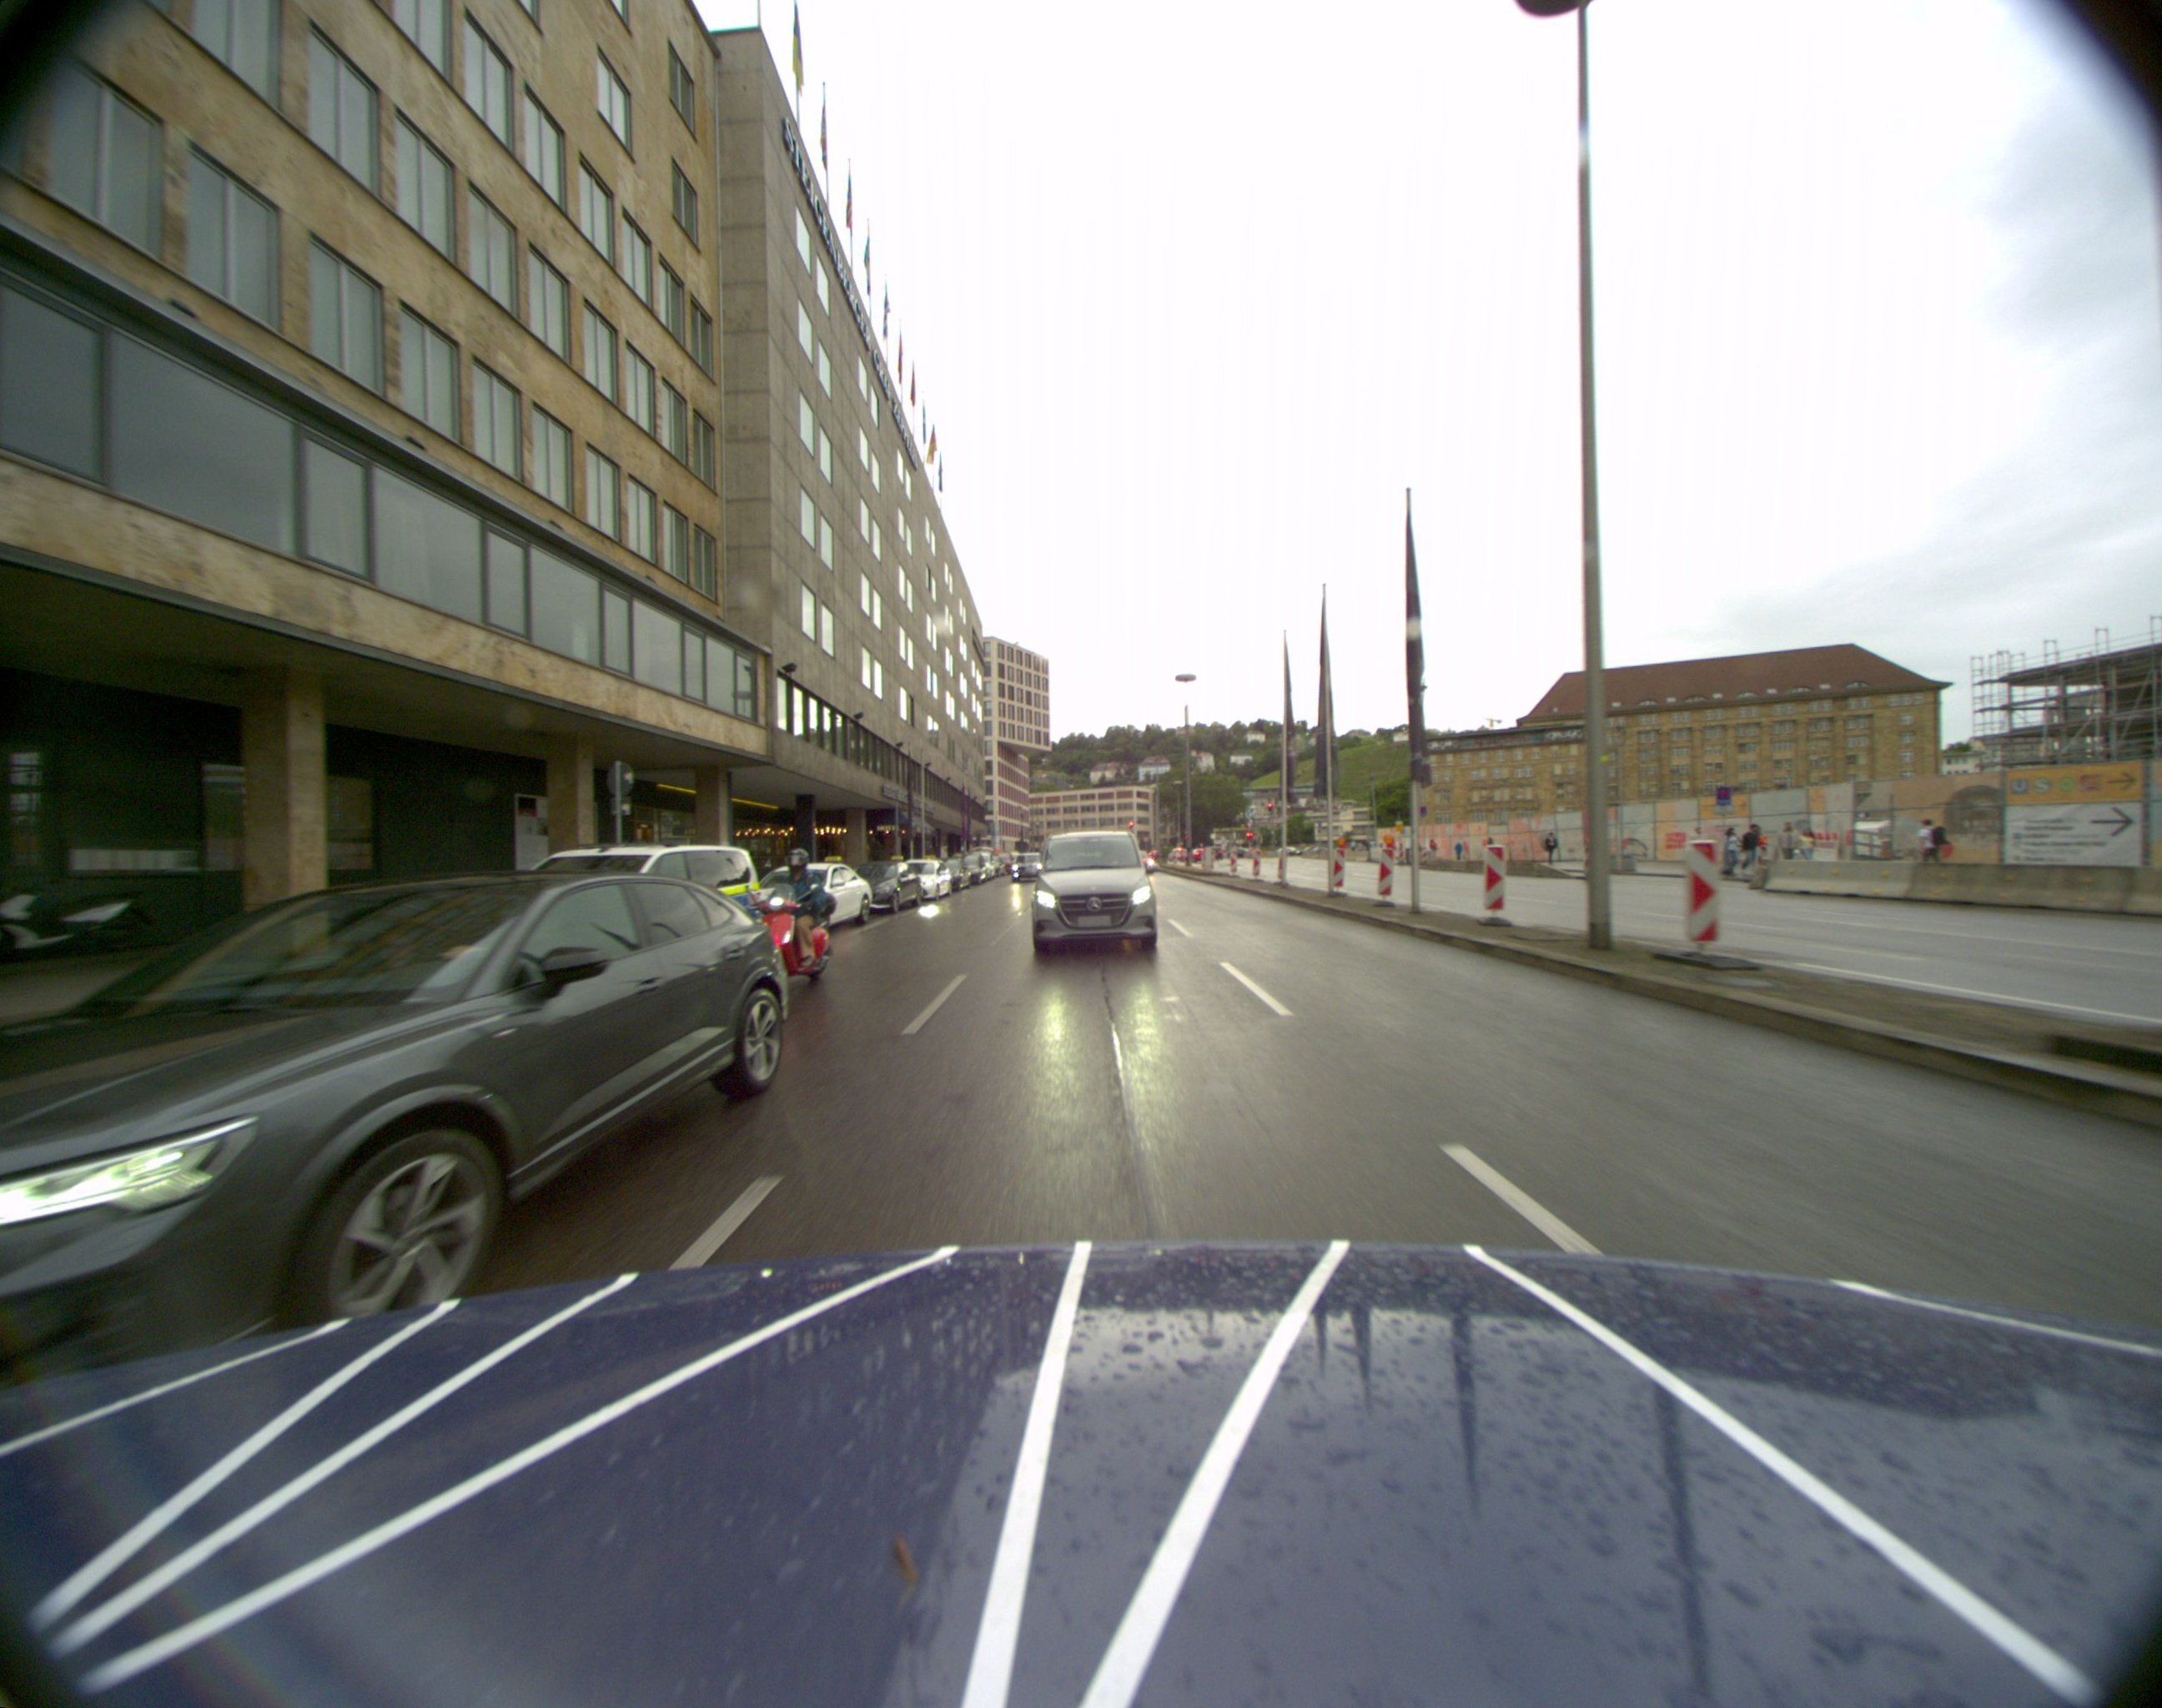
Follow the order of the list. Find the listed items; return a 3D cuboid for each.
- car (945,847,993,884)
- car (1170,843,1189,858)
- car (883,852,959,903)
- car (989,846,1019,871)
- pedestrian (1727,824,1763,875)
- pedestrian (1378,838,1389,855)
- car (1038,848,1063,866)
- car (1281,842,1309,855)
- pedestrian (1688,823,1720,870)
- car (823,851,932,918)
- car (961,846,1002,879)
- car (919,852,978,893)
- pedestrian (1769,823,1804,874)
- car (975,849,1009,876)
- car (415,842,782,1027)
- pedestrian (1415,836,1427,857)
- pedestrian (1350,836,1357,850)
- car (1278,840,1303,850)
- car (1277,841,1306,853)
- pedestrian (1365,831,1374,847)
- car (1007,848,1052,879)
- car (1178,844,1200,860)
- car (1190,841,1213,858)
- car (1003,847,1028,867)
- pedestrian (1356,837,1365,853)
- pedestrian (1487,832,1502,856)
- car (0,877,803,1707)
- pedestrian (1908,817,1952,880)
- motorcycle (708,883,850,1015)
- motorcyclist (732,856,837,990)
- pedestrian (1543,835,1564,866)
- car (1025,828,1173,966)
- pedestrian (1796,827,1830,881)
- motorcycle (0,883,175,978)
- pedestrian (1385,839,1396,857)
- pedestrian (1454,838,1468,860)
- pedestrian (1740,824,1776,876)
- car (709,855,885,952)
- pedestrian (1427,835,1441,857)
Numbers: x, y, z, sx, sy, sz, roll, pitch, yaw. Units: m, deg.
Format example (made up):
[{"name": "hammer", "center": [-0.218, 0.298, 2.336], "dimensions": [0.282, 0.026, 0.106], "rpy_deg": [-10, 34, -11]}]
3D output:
[{"name": "car", "center": [-5.878, 0.568, 40.503], "dimensions": [1.731, 1.733, 4.813], "rpy_deg": [-3, 1, 0]}, {"name": "car", "center": [12.097, -0.420, 93.634], "dimensions": [1.785, 1.684, 3.915], "rpy_deg": [-3, 1, -1]}, {"name": "car", "center": [-5.888, 0.796, 28.520], "dimensions": [1.731, 1.583, 4.813], "rpy_deg": [-3, 1, 0]}, {"name": "car", "center": [-5.671, 0.304, 56.382], "dimensions": [1.731, 1.604, 4.000], "rpy_deg": [-3, 1, 0]}, {"name": "pedestrian", "center": [23.338, -0.158, 26.719], "dimensions": [0.714, 1.723, 0.718], "rpy_deg": [-2, 2, 19]}, {"name": "pedestrian", "center": [28.910, -0.753, 72.640], "dimensions": [0.715, 1.607, 0.544], "rpy_deg": [-3, 2, 1]}, {"name": "car", "center": [-2.875, 0.233, 72.822], "dimensions": [2.089, 1.540, 4.586], "rpy_deg": [-3, 1, 0]}, {"name": "car", "center": [35.474, -0.902, 126.210], "dimensions": [4.194, 1.847, 1.832], "rpy_deg": [-3, 1, 6]}, {"name": "pedestrian", "center": [25.098, -0.299, 30.612], "dimensions": [0.664, 1.825, 0.720], "rpy_deg": [-3, 2, 1]}, {"name": "car", "center": [-5.931, 0.821, 22.793], "dimensions": [1.879, 1.628, 4.813], "rpy_deg": [-3, 1, 0]}, {"name": "car", "center": [-5.907, 0.469, 45.698], "dimensions": [1.731, 1.733, 4.813], "rpy_deg": [-3, 1, 0]}, {"name": "car", "center": [-5.880, 0.761, 34.334], "dimensions": [1.731, 1.583, 4.813], "rpy_deg": [-3, 1, 0]}, {"name": "pedestrian", "center": [24.561, -0.211, 26.476], "dimensions": [0.714, 1.734, 0.564], "rpy_deg": [-2, 2, 21]}, {"name": "car", "center": [-5.932, 0.516, 51.206], "dimensions": [1.731, 1.604, 4.000], "rpy_deg": [-3, 1, 0]}, {"name": "car", "center": [-6.202, 0.843, 10.708], "dimensions": [1.879, 1.909, 4.934], "rpy_deg": [-3, 1, 0]}, {"name": "pedestrian", "center": [27.566, -0.618, 61.568], "dimensions": [0.715, 1.607, 0.544], "rpy_deg": [-3, 2, 1]}, {"name": "pedestrian", "center": [32.508, -1.268, 90.624], "dimensions": [0.715, 1.607, 0.544], "rpy_deg": [-2, 2, 15]}, {"name": "car", "center": [35.734, -1.569, 129.425], "dimensions": [3.993, 1.622, 2.002], "rpy_deg": [-1, 1, 14]}, {"name": "car", "center": [30.733, -1.015, 110.928], "dimensions": [3.993, 1.622, 2.002], "rpy_deg": [-1, 1, 14]}, {"name": "pedestrian", "center": [30.058, -1.593, 79.059], "dimensions": [0.715, 1.607, 0.544], "rpy_deg": [-3, 2, 5]}, {"name": "car", "center": [-2.820, 0.479, 42.664], "dimensions": [2.089, 1.540, 4.586], "rpy_deg": [-3, 1, 0]}, {"name": "car", "center": [12.298, -0.291, 86.517], "dimensions": [1.785, 1.684, 3.915], "rpy_deg": [-3, 1, -1]}, {"name": "car", "center": [12.617, -0.463, 79.685], "dimensions": [1.785, 1.684, 3.916], "rpy_deg": [-1, 1, 0]}, {"name": "car", "center": [-5.684, 0.239, 66.701], "dimensions": [1.731, 1.604, 4.000], "rpy_deg": [-3, 1, 0]}, {"name": "pedestrian", "center": [29.097, -0.917, 79.226], "dimensions": [0.715, 1.607, 0.544], "rpy_deg": [-3, 2, 5]}, {"name": "pedestrian", "center": [28.349, -0.691, 52.072], "dimensions": [0.715, 1.607, 0.544], "rpy_deg": [-3, 2, 1]}, {"name": "car", "center": [-3.088, 1.005, 3.463], "dimensions": [1.883, 1.493, 4.342], "rpy_deg": [-3, 1, 1]}, {"name": "pedestrian", "center": [25.322, -0.171, 22.669], "dimensions": [0.482, 1.825, 0.717], "rpy_deg": [-3, 2, 1]}, {"name": "motorcycle", "center": [-3.590, 1.075, 9.259], "dimensions": [0.848, 1.299, 1.965], "rpy_deg": [-3, 1, 1]}, {"name": "motorcyclist", "center": [-3.602, 0.812, 9.309], "dimensions": [0.861, 1.519, 0.844], "rpy_deg": [-3, 2, 1]}, {"name": "pedestrian", "center": [25.528, -0.198, 41.049], "dimensions": [0.715, 1.607, 0.544], "rpy_deg": [-3, 2, 1]}, {"name": "car", "center": [0.296, 0.559, 13.223], "dimensions": [1.998, 1.849, 5.159], "rpy_deg": [-3, 1, 1]}, {"name": "pedestrian", "center": [25.246, 0.006, 26.204], "dimensions": [0.661, 1.825, 0.555], "rpy_deg": [-2, 2, 21]}, {"name": "motorcycle", "center": [-15.320, 1.122, 11.444], "dimensions": [0.568, 1.211, 2.105], "rpy_deg": [-2, 1, 9]}, {"name": "pedestrian", "center": [27.862, -0.546, 68.429], "dimensions": [0.715, 1.607, 0.544], "rpy_deg": [-3, 2, 1]}, {"name": "pedestrian", "center": [27.888, -0.366, 55.832], "dimensions": [0.715, 1.607, 0.544], "rpy_deg": [-3, 2, 1]}, {"name": "pedestrian", "center": [24.407, -0.154, 27.390], "dimensions": [0.714, 1.825, 0.718], "rpy_deg": [-2, 2, 19]}, {"name": "car", "center": [-5.959, 0.939, 16.710], "dimensions": [1.879, 1.628, 5.010], "rpy_deg": [-3, 1, 0]}, {"name": "pedestrian", "center": [26.628, -0.583, 57.337], "dimensions": [0.715, 1.607, 0.544], "rpy_deg": [-3, 2, 1]}]
